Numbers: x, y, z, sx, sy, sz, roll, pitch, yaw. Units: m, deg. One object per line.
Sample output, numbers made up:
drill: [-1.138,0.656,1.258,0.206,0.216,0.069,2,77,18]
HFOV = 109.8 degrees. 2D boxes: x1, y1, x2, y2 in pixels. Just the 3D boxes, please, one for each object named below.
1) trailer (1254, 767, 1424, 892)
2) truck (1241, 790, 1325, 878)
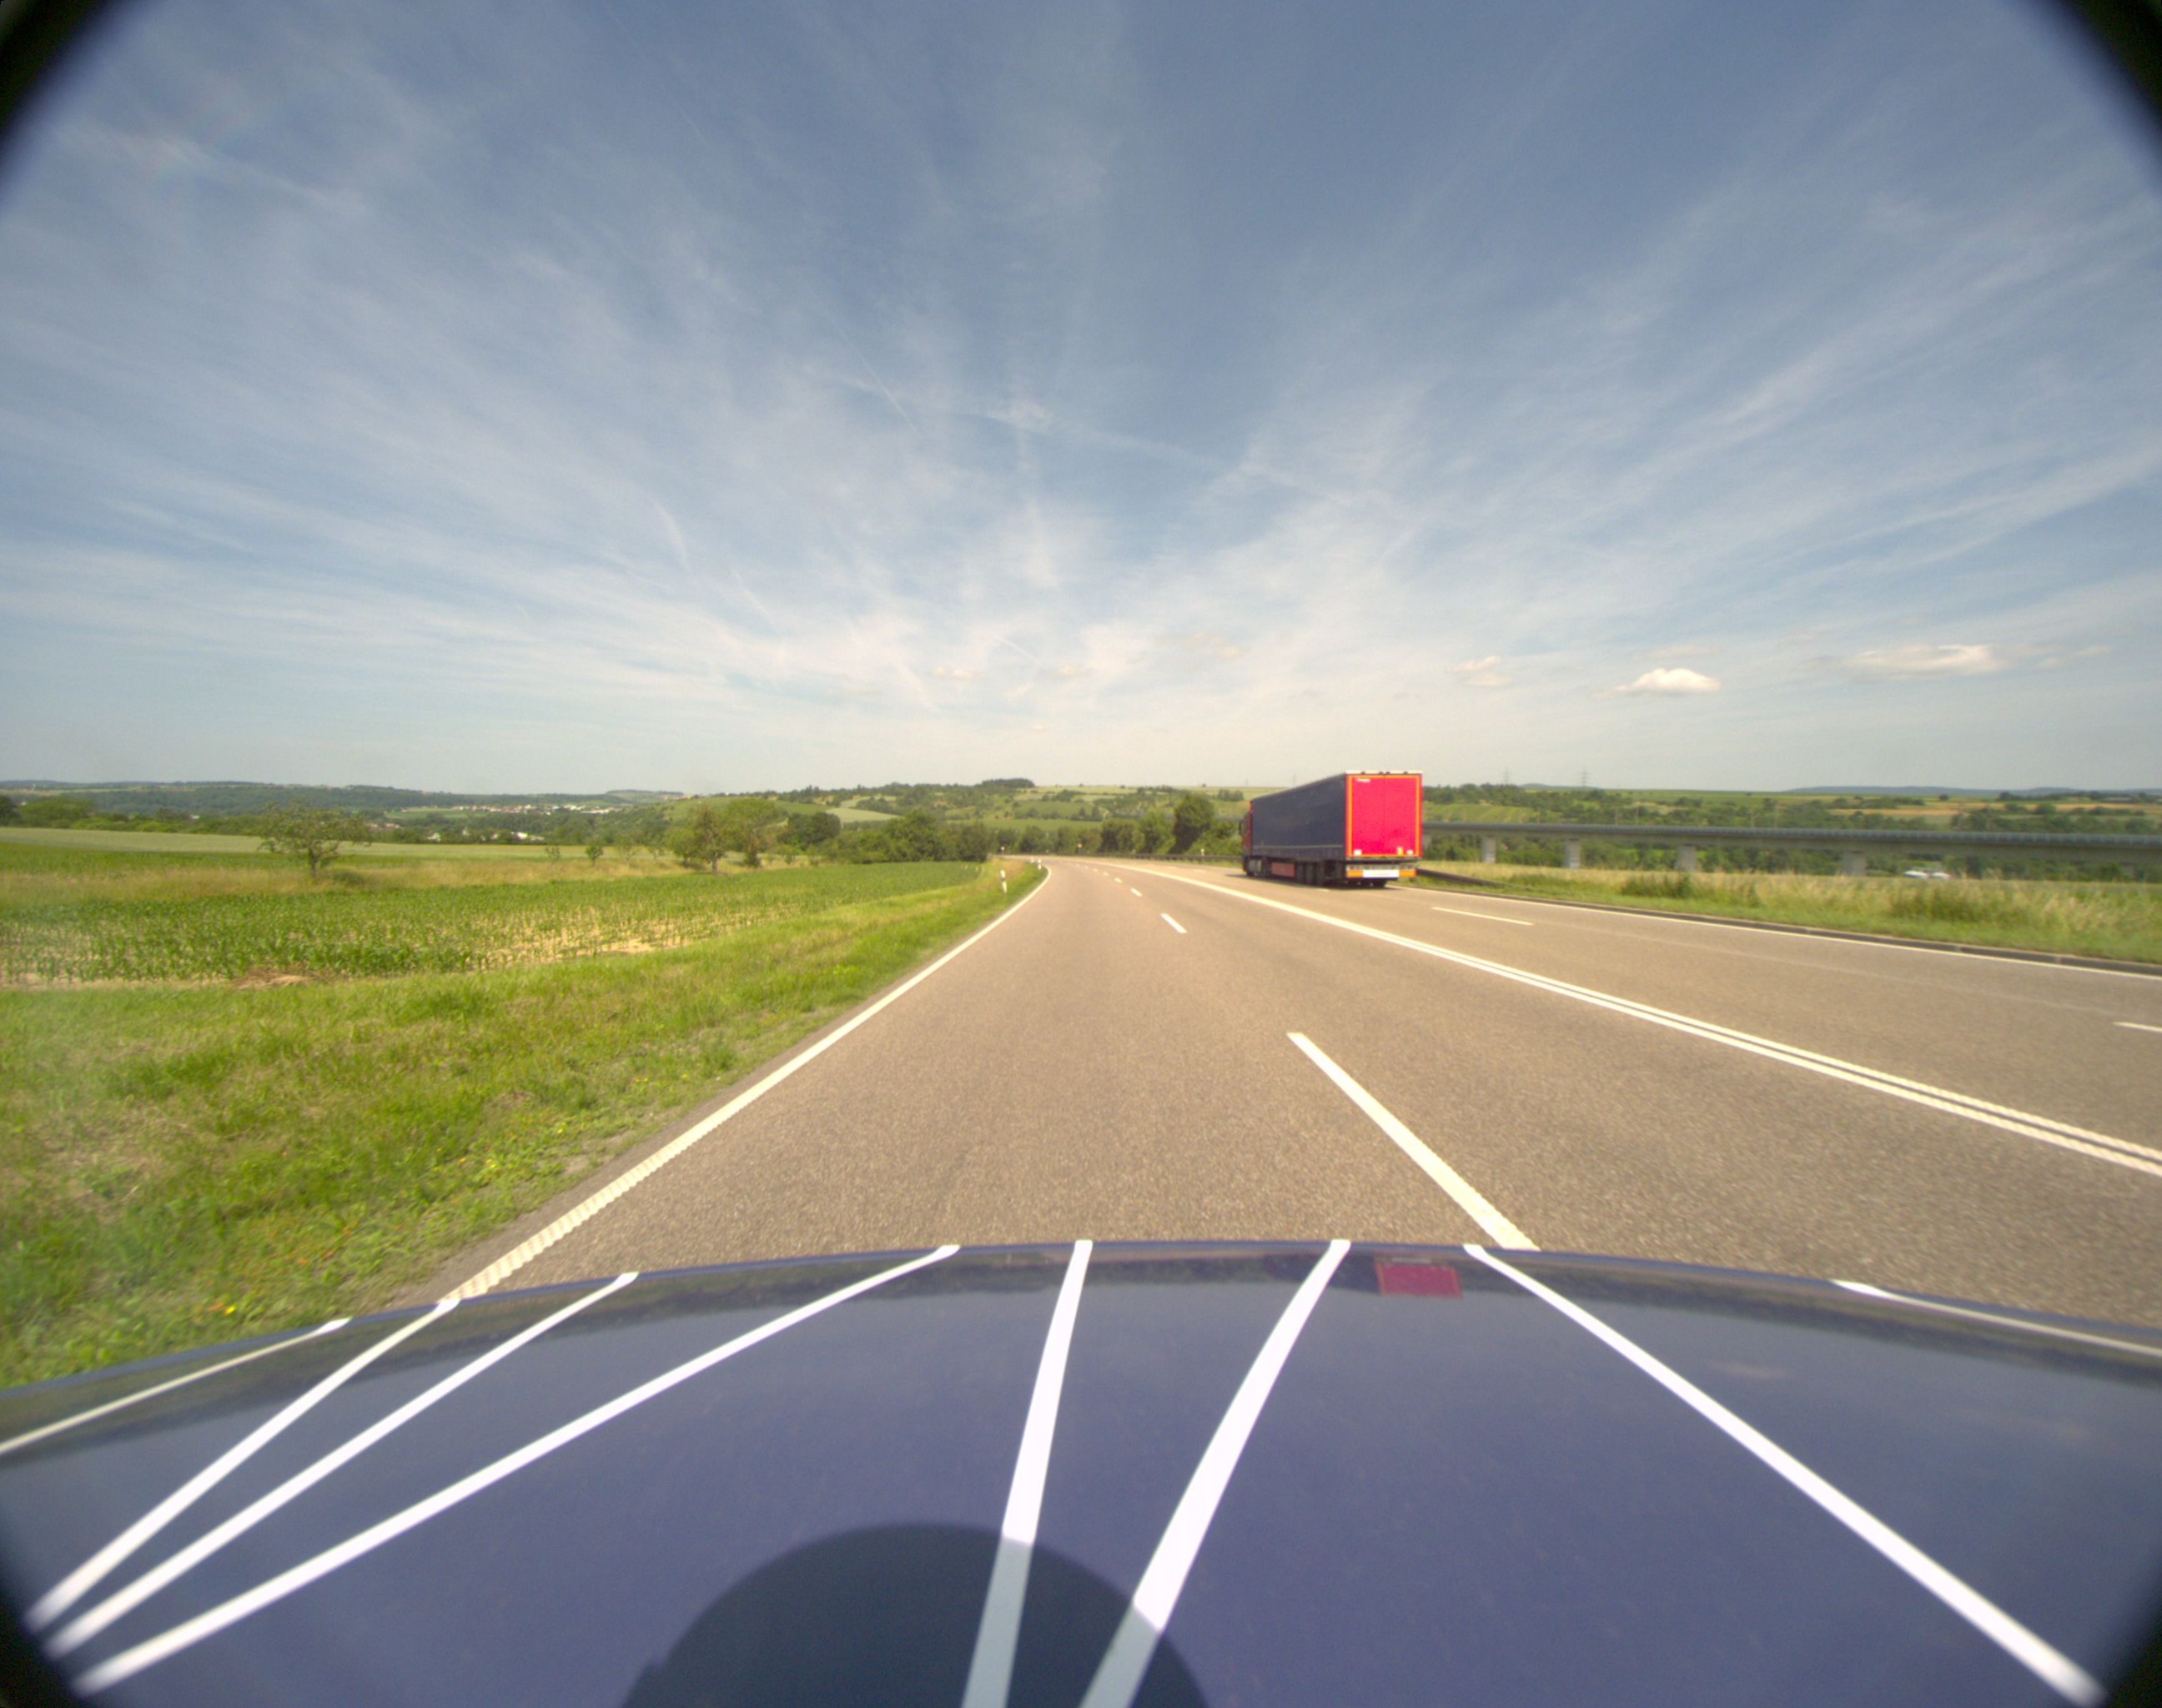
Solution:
trailer: [10.034,-0.866,31.803,2.551,4.078,13.581,0,1,0]
truck: [10.019,-0.945,38.261,2.623,4.078,6.087,0,1,0]
